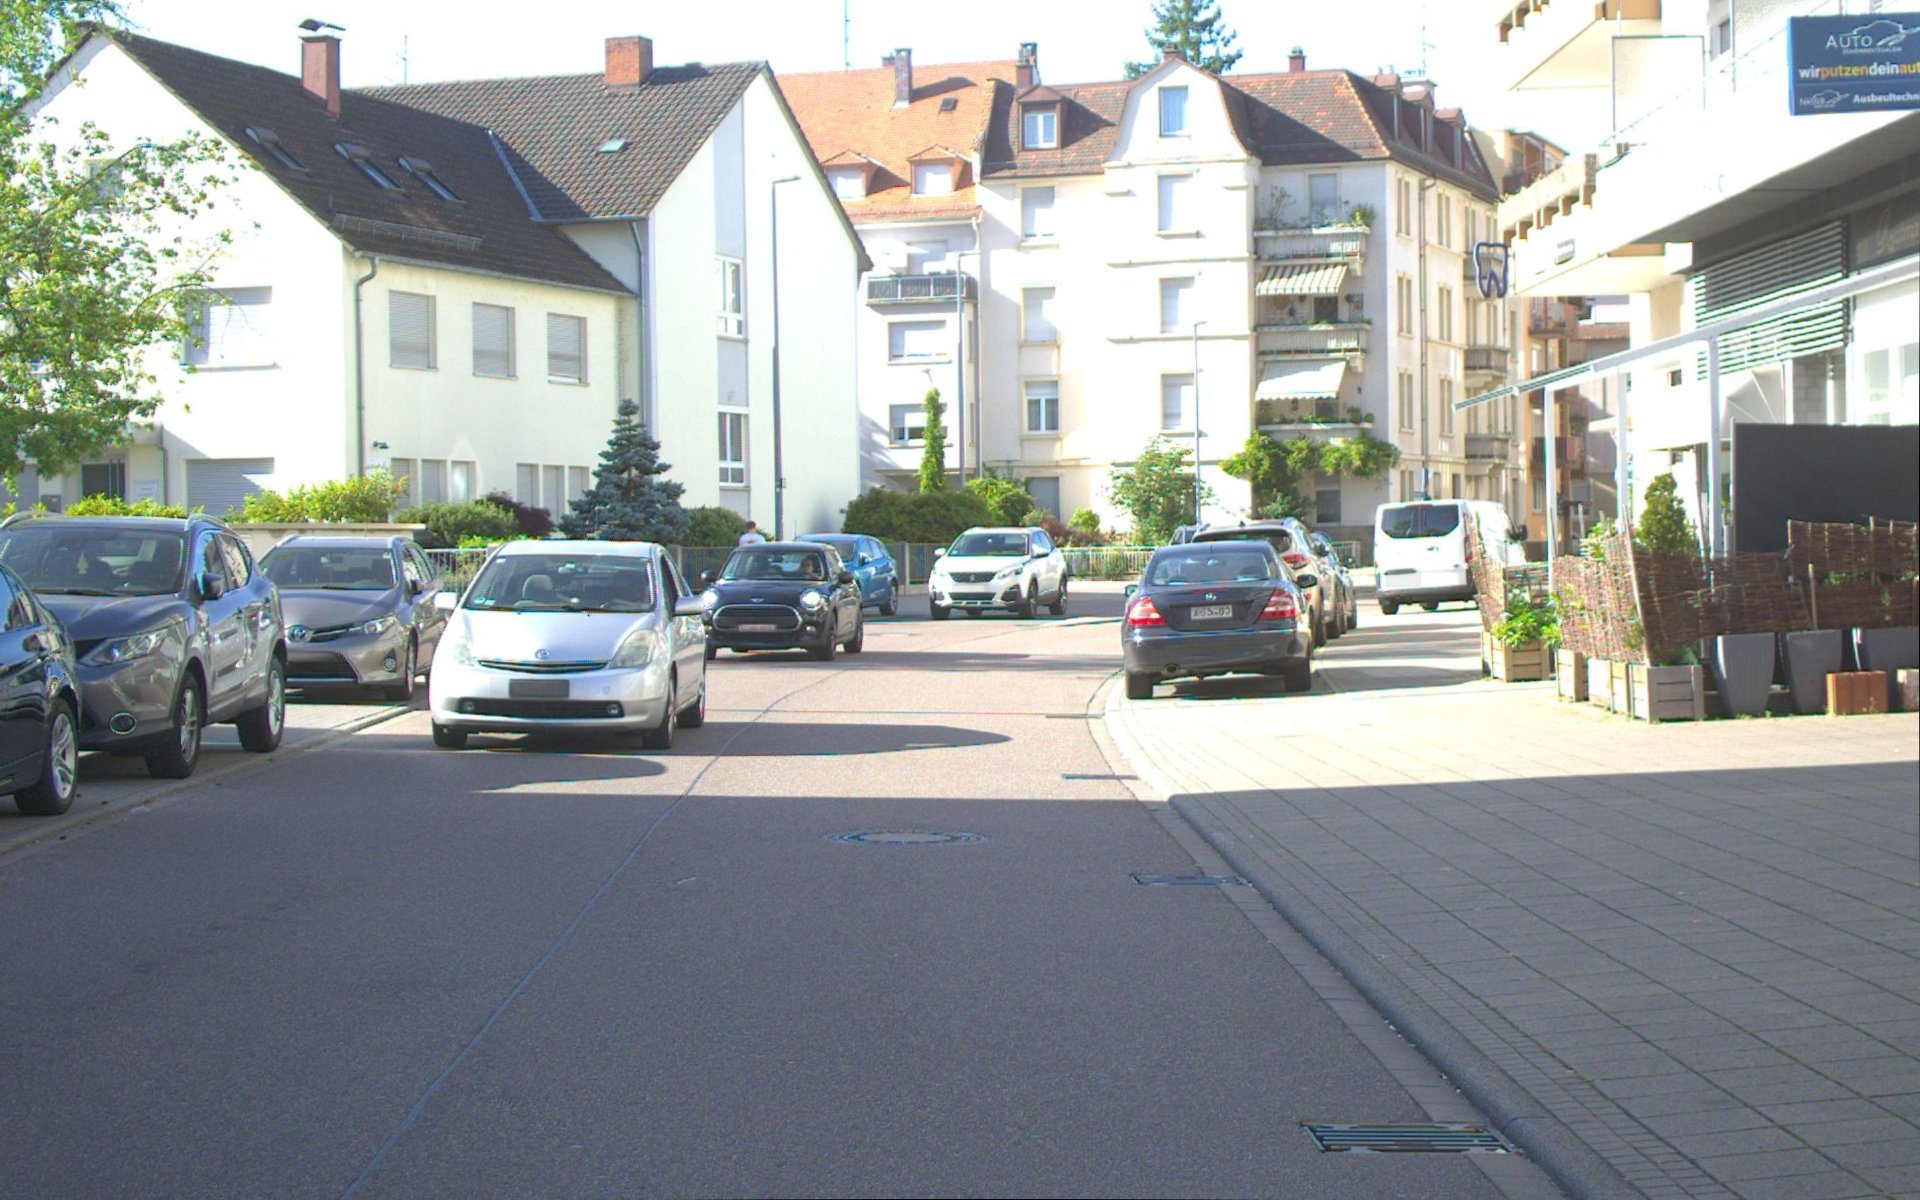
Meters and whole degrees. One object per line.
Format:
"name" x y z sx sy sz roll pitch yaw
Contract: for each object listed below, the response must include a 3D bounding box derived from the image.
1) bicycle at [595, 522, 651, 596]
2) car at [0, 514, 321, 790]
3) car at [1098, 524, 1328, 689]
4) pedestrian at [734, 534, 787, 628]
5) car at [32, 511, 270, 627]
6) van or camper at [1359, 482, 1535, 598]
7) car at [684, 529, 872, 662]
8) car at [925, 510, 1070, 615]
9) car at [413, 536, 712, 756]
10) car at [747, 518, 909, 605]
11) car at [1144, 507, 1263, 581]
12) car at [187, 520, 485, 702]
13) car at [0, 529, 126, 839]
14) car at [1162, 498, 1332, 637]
"bicycle" -6.022 -0.721 61.462 0.456 1.246 1.927 -1 -1 11
"car" -5.378 0.251 21.996 1.719 1.581 4.421 -1 1 0
"car" 2.519 0.038 33.128 1.971 1.445 5.002 -1 0 7
"pedestrian" -3.663 -0.336 63.096 0.683 1.698 0.823 -1 -1 21
"car" -11.607 -0.418 49.469 1.802 1.550 3.184 -1 -1 23
"van or camper" 8.900 -1.111 62.519 2.022 1.940 4.698 -3 1 22
"car" -2.227 -0.023 43.026 1.740 1.507 3.729 -2 -2 6
"car" 0.716 -0.642 61.572 1.920 1.719 4.335 -1 -1 10
"car" -2.889 0.283 25.752 1.726 1.480 4.106 -1 1 0
"car" -2.309 -0.713 61.180 1.798 1.468 4.328 1 2 13
"car" 6.127 -1.416 86.957 1.989 1.779 4.520 -2 1 -9
"car" -5.700 0.037 31.988 1.993 1.529 4.919 -1 1 -2
"car" -5.396 0.404 16.387 1.726 1.460 4.439 -1 1 0
"car" 3.772 -0.374 44.513 1.818 1.648 4.558 -1 -1 9
